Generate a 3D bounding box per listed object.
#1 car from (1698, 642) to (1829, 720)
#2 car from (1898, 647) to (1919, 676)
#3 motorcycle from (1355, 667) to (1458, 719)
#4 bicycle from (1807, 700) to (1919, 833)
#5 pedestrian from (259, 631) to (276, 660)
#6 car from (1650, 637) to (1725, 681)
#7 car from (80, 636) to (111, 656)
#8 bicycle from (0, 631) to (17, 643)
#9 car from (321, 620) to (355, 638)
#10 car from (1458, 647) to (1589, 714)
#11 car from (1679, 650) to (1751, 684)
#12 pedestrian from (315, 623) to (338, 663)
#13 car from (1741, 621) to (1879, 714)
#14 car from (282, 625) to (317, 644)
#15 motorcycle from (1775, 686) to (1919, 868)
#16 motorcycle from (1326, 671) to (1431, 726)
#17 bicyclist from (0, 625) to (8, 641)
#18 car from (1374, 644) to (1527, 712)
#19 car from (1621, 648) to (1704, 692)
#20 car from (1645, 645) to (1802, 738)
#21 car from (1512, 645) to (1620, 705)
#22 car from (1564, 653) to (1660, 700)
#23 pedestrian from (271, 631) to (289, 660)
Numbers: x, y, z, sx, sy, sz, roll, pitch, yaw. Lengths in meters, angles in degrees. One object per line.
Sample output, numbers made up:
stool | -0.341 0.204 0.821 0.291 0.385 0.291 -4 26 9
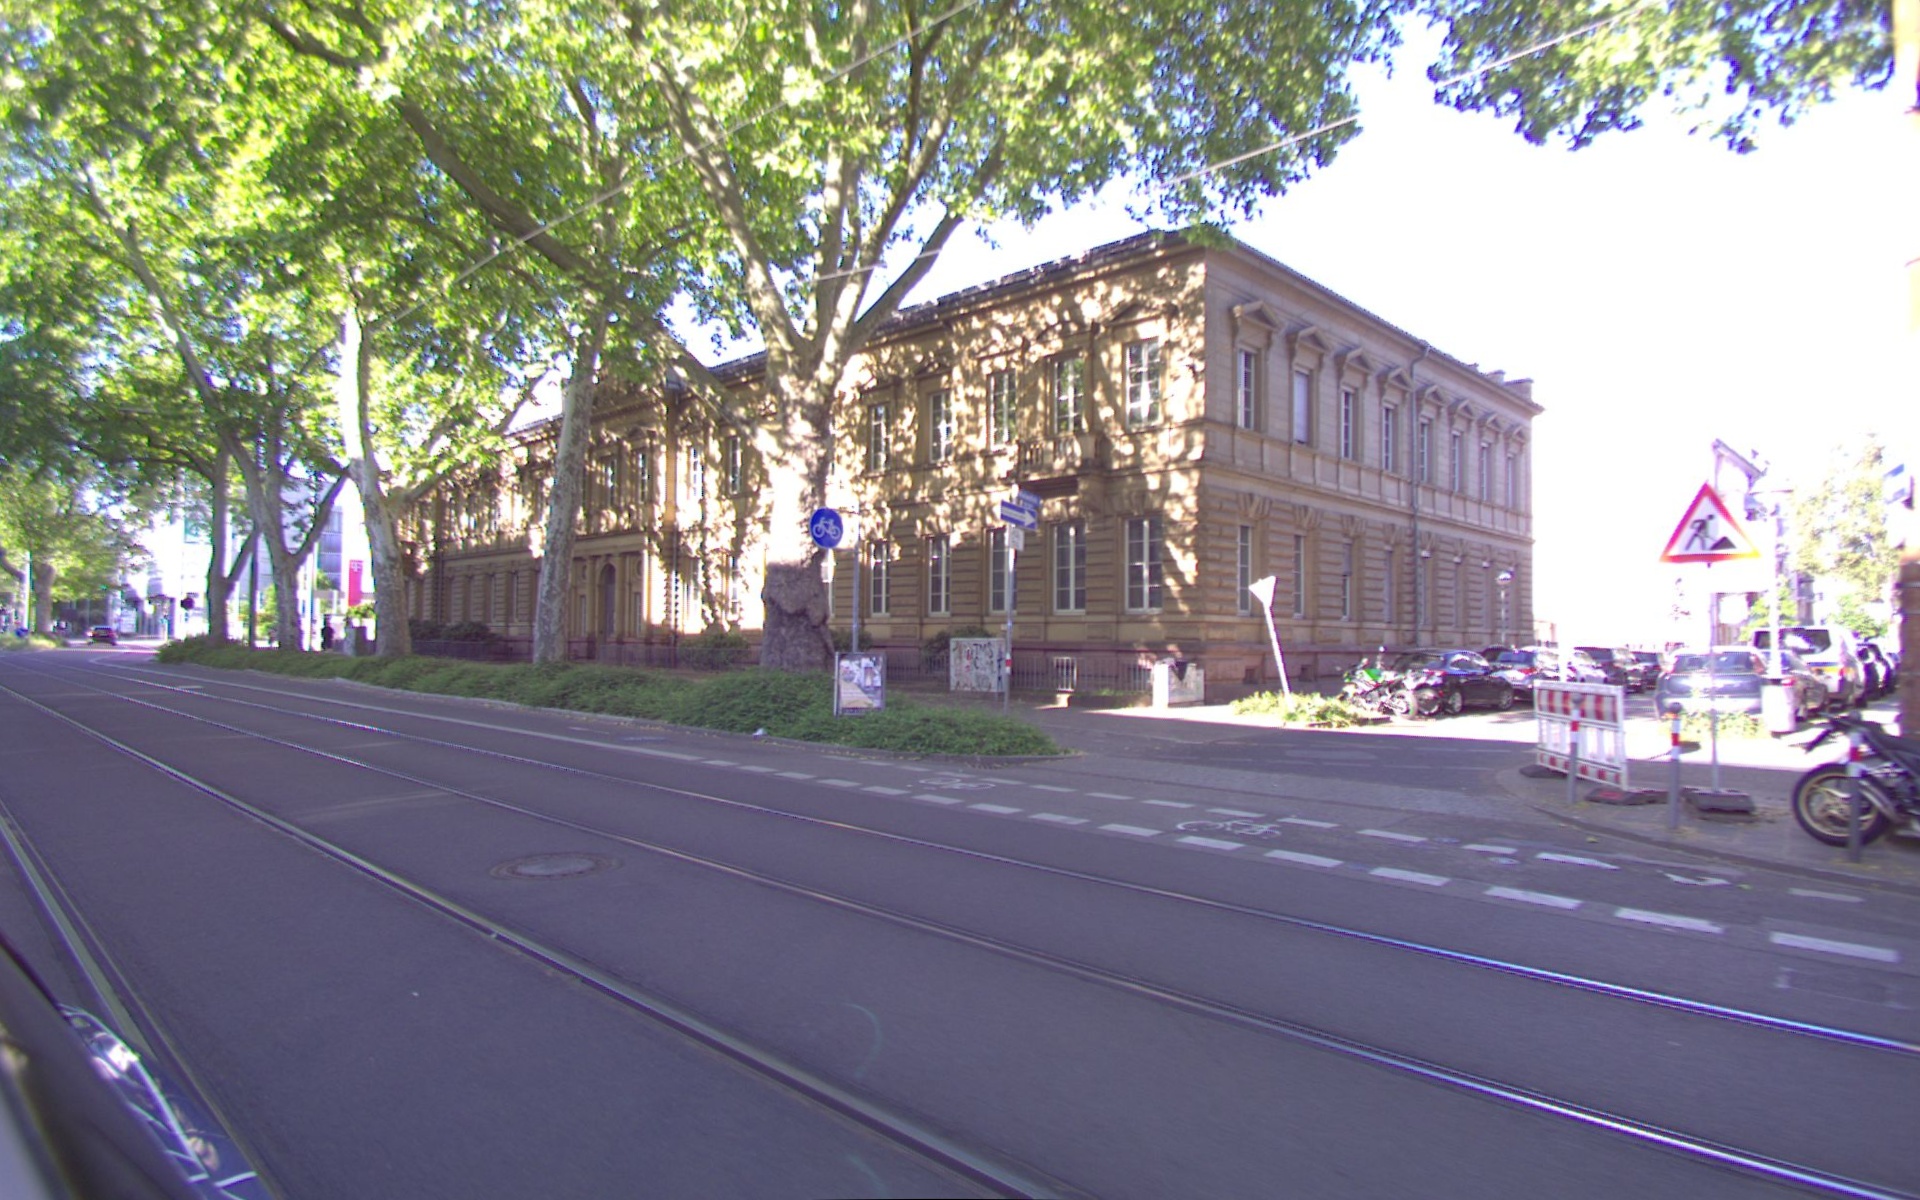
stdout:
car | 16.359 1.613 20.532 1.694 1.429 3.876 -4 -5 43
car | 56.485 3.595 59.451 3.732 1.616 1.695 3 -6 -44
motorcycle | 9.745 2.005 22.132 0.710 0.984 1.959 0 -1 -36
bicycle | 7.722 1.289 7.580 0.534 0.948 2.037 2 -3 -41
pedestrian | -40.530 2.649 59.229 0.655 1.710 0.628 -1 -2 34
car | 30.612 2.434 42.539 3.873 1.649 1.849 0 -1 -43
car | -72.214 3.840 84.537 1.843 1.642 4.566 3 -4 -41
bicycle | -93.377 3.601 98.612 0.759 1.137 2.056 -1 -2 40
car | -62.212 2.902 101.219 3.998 1.765 1.828 -1 -2 41
car | 14.966 2.060 26.807 3.872 1.502 1.850 0 -1 -41
car | 34.270 3.015 45.918 3.872 1.342 1.850 0 -1 -41
pedestrian | -30.283 2.039 48.398 0.837 1.863 0.711 -2 -3 42
car | 20.500 1.642 24.353 4.355 2.018 2.016 3 -7 -44
car | -64.653 3.334 99.074 3.998 1.831 1.828 -1 -2 41
motorcycle | 7.013 1.207 6.696 0.873 1.156 2.394 2 -3 -41
motorcycle | 8.790 2.044 21.319 0.710 0.984 1.959 0 -1 -36
bicyclist | -93.433 3.221 98.553 0.759 1.588 0.994 -1 -3 40
car | 11.573 1.763 23.809 3.871 1.342 1.850 0 -1 -41
car | 26.456 2.599 38.066 3.872 1.447 1.675 0 -1 -41
car | 13.239 1.542 17.474 1.694 1.429 3.734 -6 -6 43
car | 18.387 2.207 30.646 3.872 1.561 1.713 0 -1 -41
car | 21.867 2.525 33.907 3.872 1.342 1.704 0 -1 -41
pedestrian | -40.160 2.698 59.792 0.660 1.710 0.665 -1 -2 34
